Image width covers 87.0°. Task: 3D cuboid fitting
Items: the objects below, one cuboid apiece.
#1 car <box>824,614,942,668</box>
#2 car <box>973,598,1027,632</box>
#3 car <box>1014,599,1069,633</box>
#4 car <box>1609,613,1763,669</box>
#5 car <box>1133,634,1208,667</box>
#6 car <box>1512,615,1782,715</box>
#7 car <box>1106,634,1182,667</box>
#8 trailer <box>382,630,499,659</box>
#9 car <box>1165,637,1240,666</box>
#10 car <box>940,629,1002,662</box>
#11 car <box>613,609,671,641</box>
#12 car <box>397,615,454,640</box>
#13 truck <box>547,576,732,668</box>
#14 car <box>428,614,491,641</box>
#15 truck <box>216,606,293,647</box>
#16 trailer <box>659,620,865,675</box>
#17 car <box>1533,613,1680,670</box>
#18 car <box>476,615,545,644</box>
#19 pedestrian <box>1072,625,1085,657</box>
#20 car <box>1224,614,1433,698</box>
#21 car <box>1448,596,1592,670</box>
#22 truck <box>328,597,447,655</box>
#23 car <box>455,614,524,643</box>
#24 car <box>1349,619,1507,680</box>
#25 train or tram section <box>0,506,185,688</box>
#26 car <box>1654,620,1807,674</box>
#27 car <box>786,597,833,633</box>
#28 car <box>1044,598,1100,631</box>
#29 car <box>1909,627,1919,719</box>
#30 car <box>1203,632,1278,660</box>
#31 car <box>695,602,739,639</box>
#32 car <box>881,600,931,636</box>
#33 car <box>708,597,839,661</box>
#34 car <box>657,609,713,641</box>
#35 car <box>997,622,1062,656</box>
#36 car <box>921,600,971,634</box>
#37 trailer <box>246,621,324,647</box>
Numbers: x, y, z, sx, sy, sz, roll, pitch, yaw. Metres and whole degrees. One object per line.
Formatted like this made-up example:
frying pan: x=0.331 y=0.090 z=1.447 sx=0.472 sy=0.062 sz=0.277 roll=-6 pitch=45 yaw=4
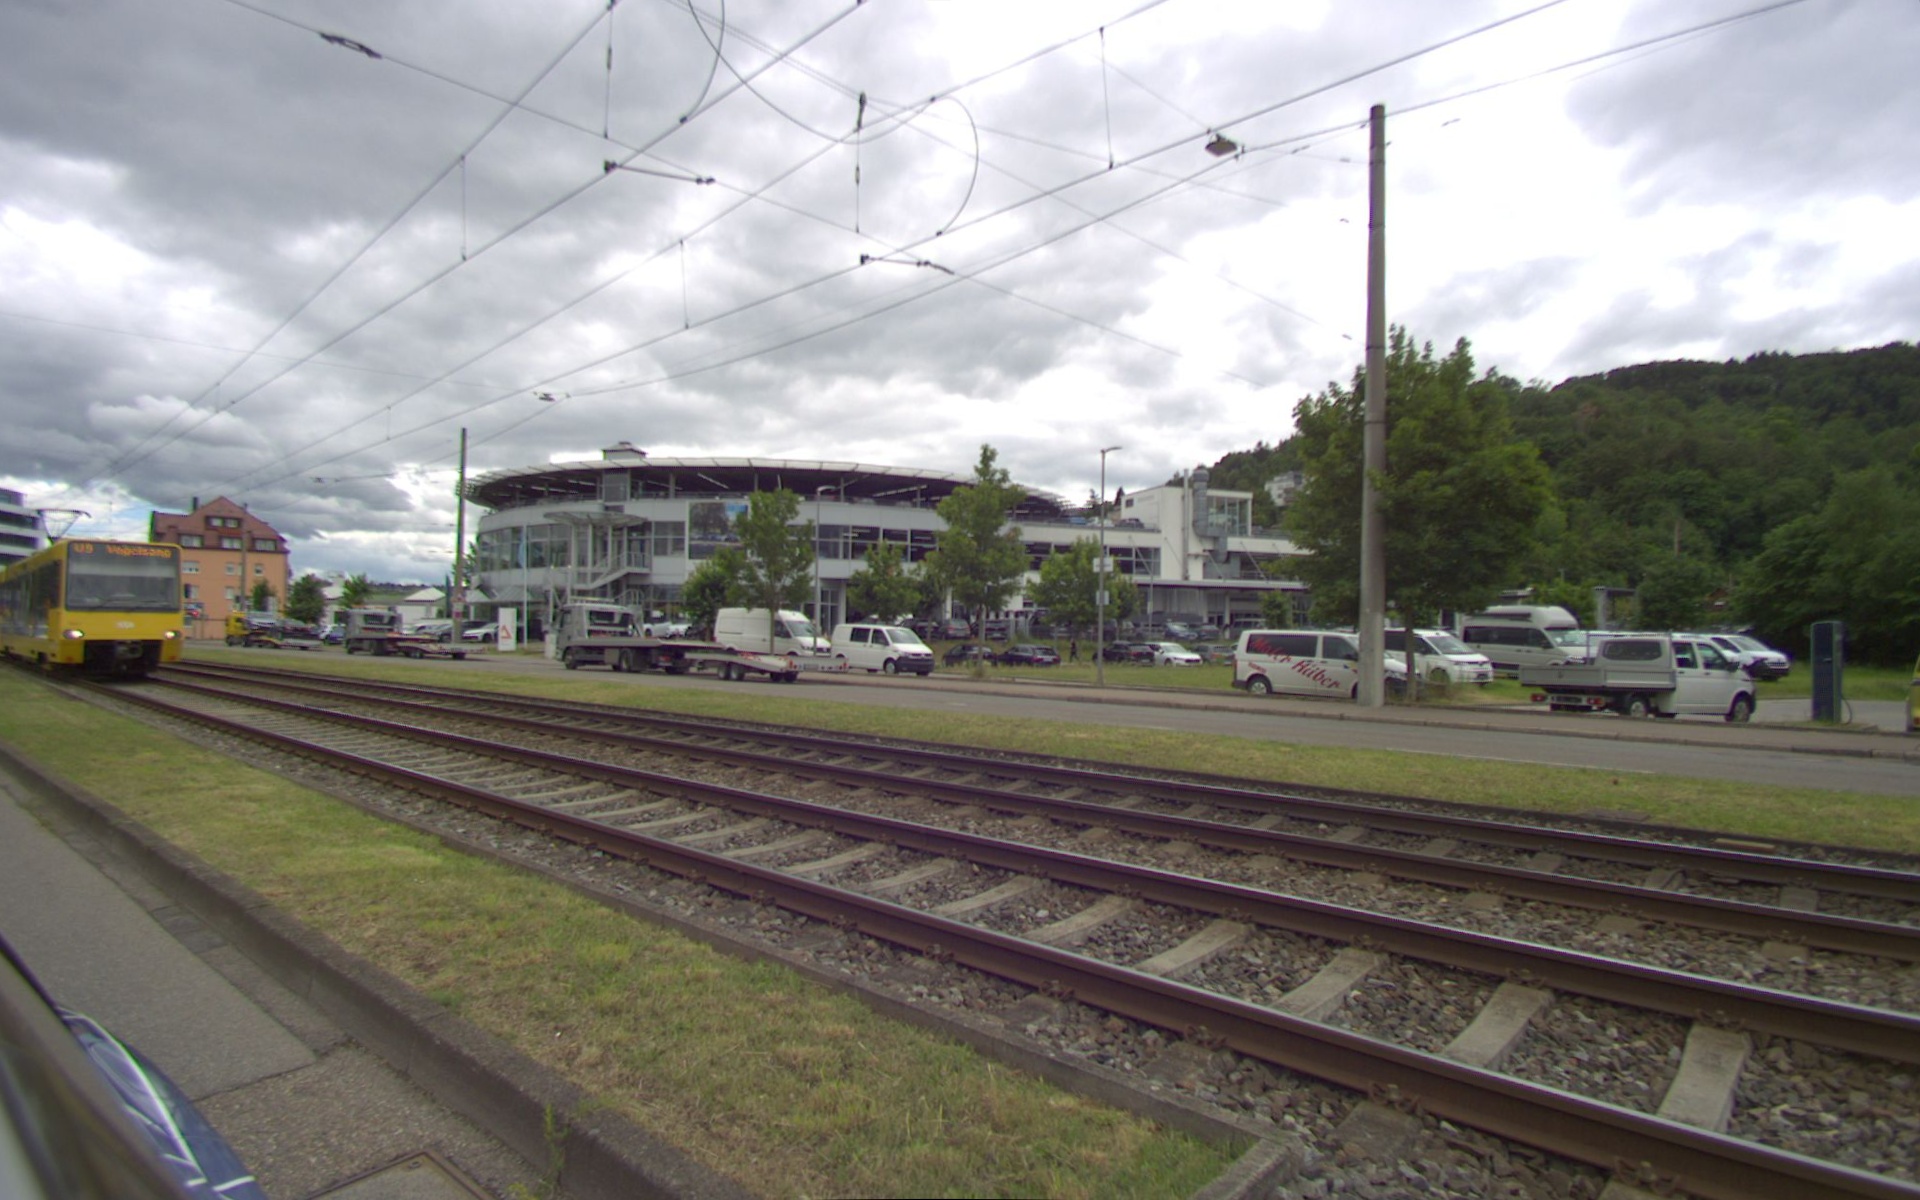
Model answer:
car: x=-3.069 y=1.578 z=39.790 sx=4.809 sy=2.029 sz=1.971 roll=-2 pitch=-2 yaw=44
car: x=2.462 y=0.939 z=62.849 sx=1.965 sy=2.029 sz=4.013 roll=1 pitch=-2 yaw=-19
car: x=5.071 y=1.012 z=63.756 sx=1.965 sy=2.029 sz=4.013 roll=1 pitch=-2 yaw=-19
car: x=29.456 y=1.636 z=41.271 sx=1.966 sy=2.144 sz=4.875 roll=1 pitch=-2 yaw=-17
car: x=11.058 y=2.648 z=53.405 sx=1.649 sy=1.630 sz=3.724 roll=1 pitch=-2 yaw=-37
car: x=15.350 y=1.408 z=22.613 sx=5.615 sy=2.023 sz=2.151 roll=1 pitch=-2 yaw=-21
car: x=9.428 y=2.575 z=52.161 sx=1.649 sy=1.630 sz=3.724 roll=1 pitch=-2 yaw=-37
trailer: x=-26.158 y=2.210 z=50.847 sx=7.007 sy=1.287 sz=3.015 roll=-1 pitch=-4 yaw=43
car: x=13.083 y=2.773 z=54.767 sx=1.649 sy=1.447 sz=3.724 roll=1 pitch=-2 yaw=-37
car: x=0.525 y=2.281 z=51.344 sx=1.648 sy=1.630 sz=3.727 roll=1 pitch=-2 yaw=-26
car: x=-20.658 y=1.654 z=65.886 sx=1.978 sy=2.029 sz=3.986 roll=0 pitch=-2 yaw=11
car: x=-42.725 y=2.242 z=80.982 sx=3.930 sy=1.962 sz=2.006 roll=1 pitch=-2 yaw=-26
truck: x=-11.971 y=0.877 z=37.219 sx=2.831 sy=3.004 sz=8.459 roll=5 pitch=-4 yaw=-45
car: x=-37.245 y=2.060 z=75.278 sx=3.934 sy=1.962 sz=2.005 roll=1 pitch=-2 yaw=-35
truck: x=-52.863 y=1.959 z=75.737 sx=9.069 sy=2.881 sz=3.015 roll=-2 pitch=-2 yaw=44
trailer: x=-6.357 y=1.454 z=31.699 sx=7.229 sy=1.507 sz=2.726 roll=-2 pitch=-5 yaw=45
car: x=26.021 y=1.628 z=40.963 sx=1.966 sy=2.144 sz=4.875 roll=1 pitch=-2 yaw=-17
car: x=-30.785 y=2.036 z=69.423 sx=1.992 sy=1.962 sz=3.959 roll=-1 pitch=-2 yaw=30
pedestrian: x=5.757 y=2.003 z=49.112 sx=0.492 sy=1.536 sz=0.613 roll=1 pitch=-2 yaw=-9
car: x=9.682 y=1.399 z=26.886 sx=1.970 sy=2.029 sz=4.864 roll=2 pitch=-2 yaw=-44
car: x=22.040 y=1.273 z=40.067 sx=1.965 sy=2.726 sz=4.876 roll=1 pitch=-2 yaw=-20
truck: x=-31.971 y=1.484 z=56.358 sx=8.961 sy=2.944 sz=3.073 roll=-1 pitch=-4 yaw=43
car: x=-33.020 y=2.024 z=71.152 sx=1.992 sy=1.962 sz=3.959 roll=-1 pitch=-2 yaw=30
car: x=16.616 y=1.696 z=36.276 sx=1.965 sy=2.029 sz=5.150 roll=1 pitch=-2 yaw=-22
train or tram section: x=-26.081 y=-0.021 z=29.640 sx=3.349 sy=4.037 sz=16.956 roll=0 pitch=0 yaw=-44
car: x=32.508 y=1.943 z=42.903 sx=1.966 sy=2.144 sz=4.875 roll=1 pitch=-2 yaw=-17
car: x=-8.848 y=0.916 z=59.128 sx=1.965 sy=2.029 sz=4.012 roll=1 pitch=-2 yaw=-19
car: x=7.104 y=0.956 z=64.360 sx=1.965 sy=2.029 sz=4.013 roll=1 pitch=-2 yaw=-19
car: x=19.368 y=1.326 z=18.591 sx=4.280 sy=1.630 sz=2.158 roll=1 pitch=-2 yaw=-38
car: x=15.420 y=2.523 z=55.726 sx=1.649 sy=1.447 sz=3.724 roll=1 pitch=-2 yaw=-37
car: x=-13.915 y=1.182 z=57.813 sx=1.965 sy=2.029 sz=4.012 roll=1 pitch=-2 yaw=-19
car: x=-3.297 y=1.098 z=60.999 sx=1.965 sy=2.029 sz=4.013 roll=1 pitch=-2 yaw=-19
car: x=-8.103 y=1.245 z=43.771 sx=5.845 sy=2.580 sz=1.978 roll=-1 pitch=-2 yaw=33
car: x=-17.930 y=1.654 z=66.167 sx=1.978 sy=2.029 sz=3.986 roll=0 pitch=-2 yaw=11
car: x=3.460 y=1.956 z=51.087 sx=1.648 sy=1.630 sz=3.728 roll=1 pitch=-2 yaw=-25
car: x=-0.911 y=1.091 z=63.862 sx=1.965 sy=2.029 sz=4.013 roll=1 pitch=-2 yaw=-19
trailer: x=-46.774 y=2.331 z=70.032 sx=7.570 sy=1.701 sz=2.944 roll=-2 pitch=-2 yaw=44
